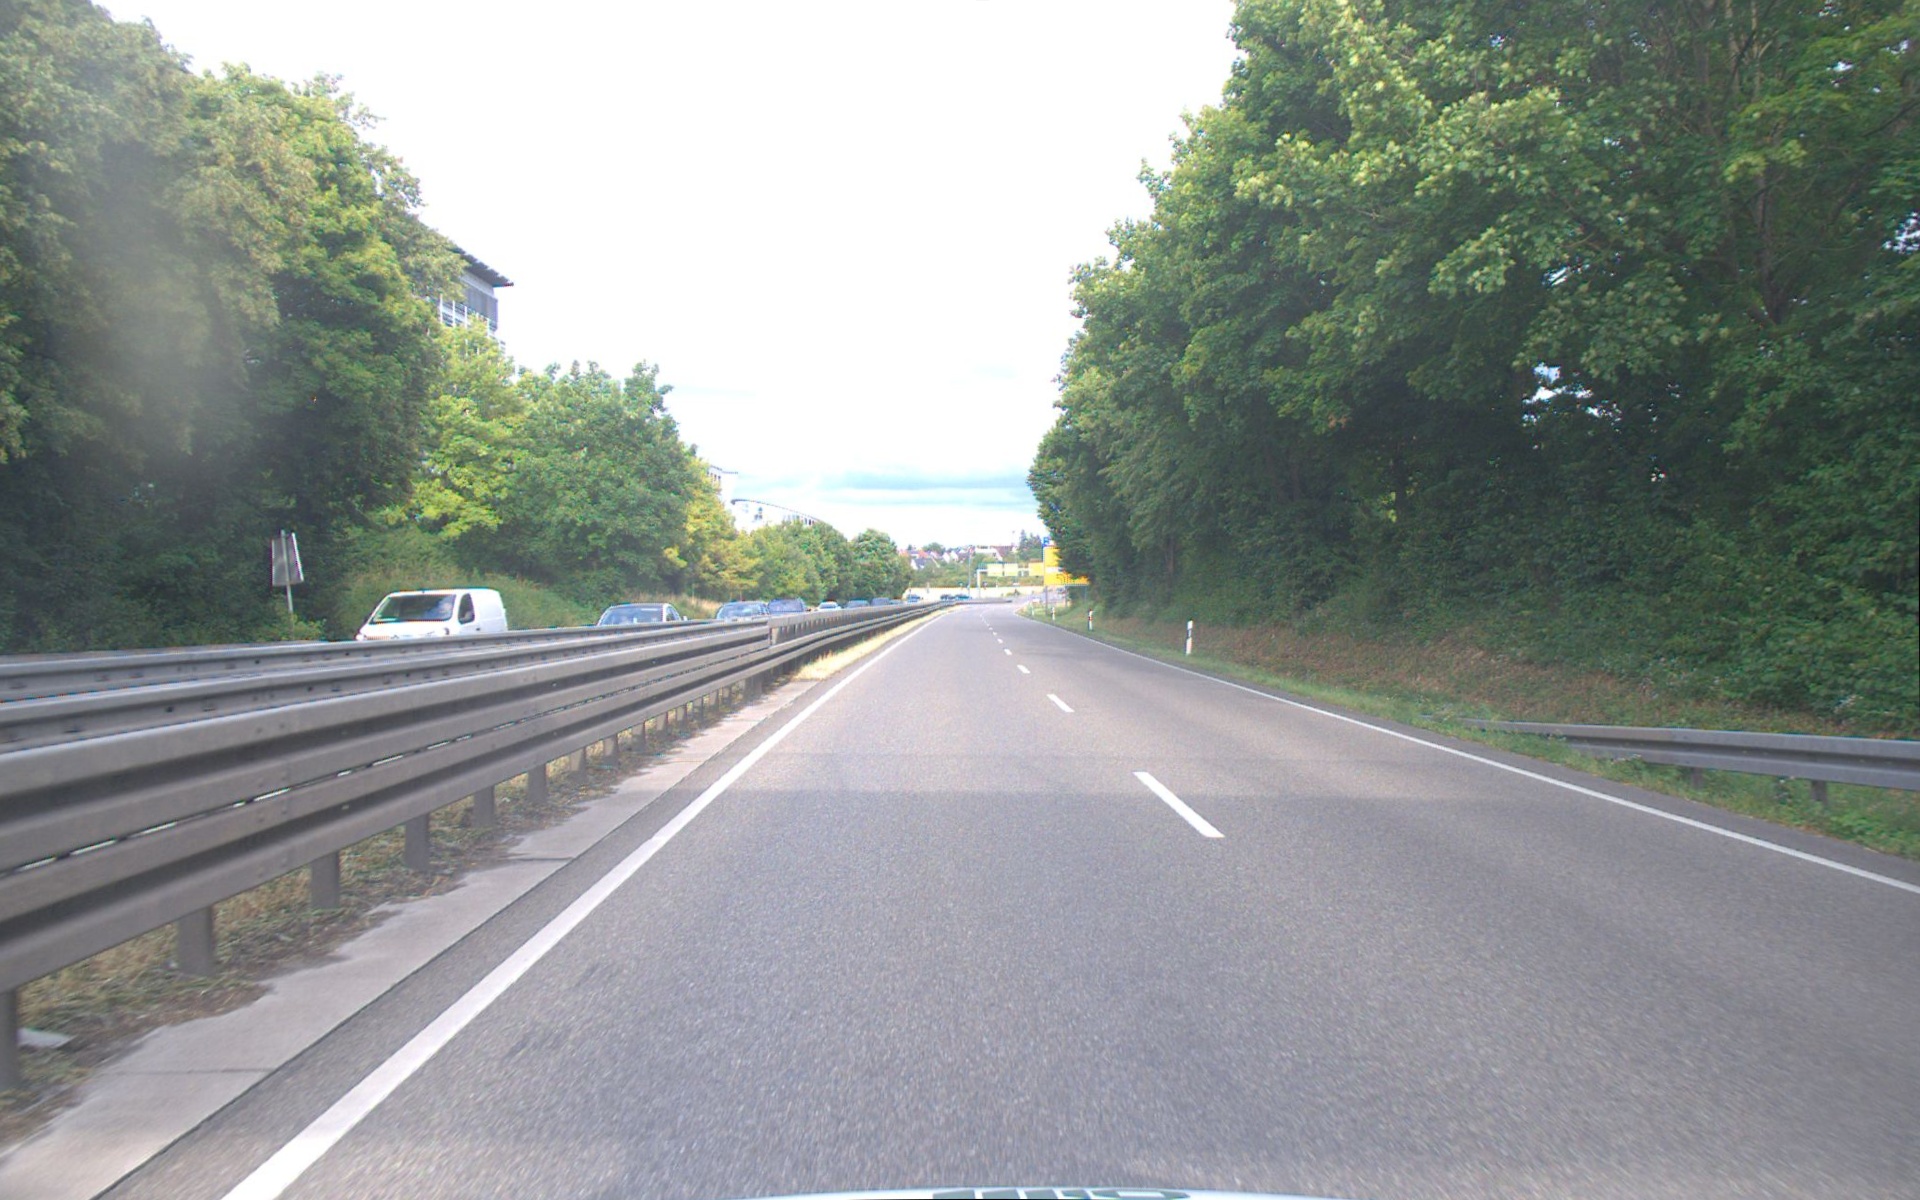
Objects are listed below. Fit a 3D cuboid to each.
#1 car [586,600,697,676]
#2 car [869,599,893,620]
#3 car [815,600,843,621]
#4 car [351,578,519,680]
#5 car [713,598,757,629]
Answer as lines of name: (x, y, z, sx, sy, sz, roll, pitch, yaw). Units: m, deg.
car: (-6.716, 0.776, 35.169, 1.647, 1.512, 3.646, 0, 0, 0)
car: (-6.521, 0.767, 136.739, 1.707, 1.673, 5.279, -1, 0, 0)
car: (-10.206, 0.804, 128.990, 1.780, 1.511, 4.417, 2, 0, 0)
car: (-10.422, 0.535, 33.221, 1.829, 1.888, 4.623, 0, 0, 1)
car: (-10.405, 0.618, 76.703, 1.740, 1.378, 3.997, 0, 0, -3)
